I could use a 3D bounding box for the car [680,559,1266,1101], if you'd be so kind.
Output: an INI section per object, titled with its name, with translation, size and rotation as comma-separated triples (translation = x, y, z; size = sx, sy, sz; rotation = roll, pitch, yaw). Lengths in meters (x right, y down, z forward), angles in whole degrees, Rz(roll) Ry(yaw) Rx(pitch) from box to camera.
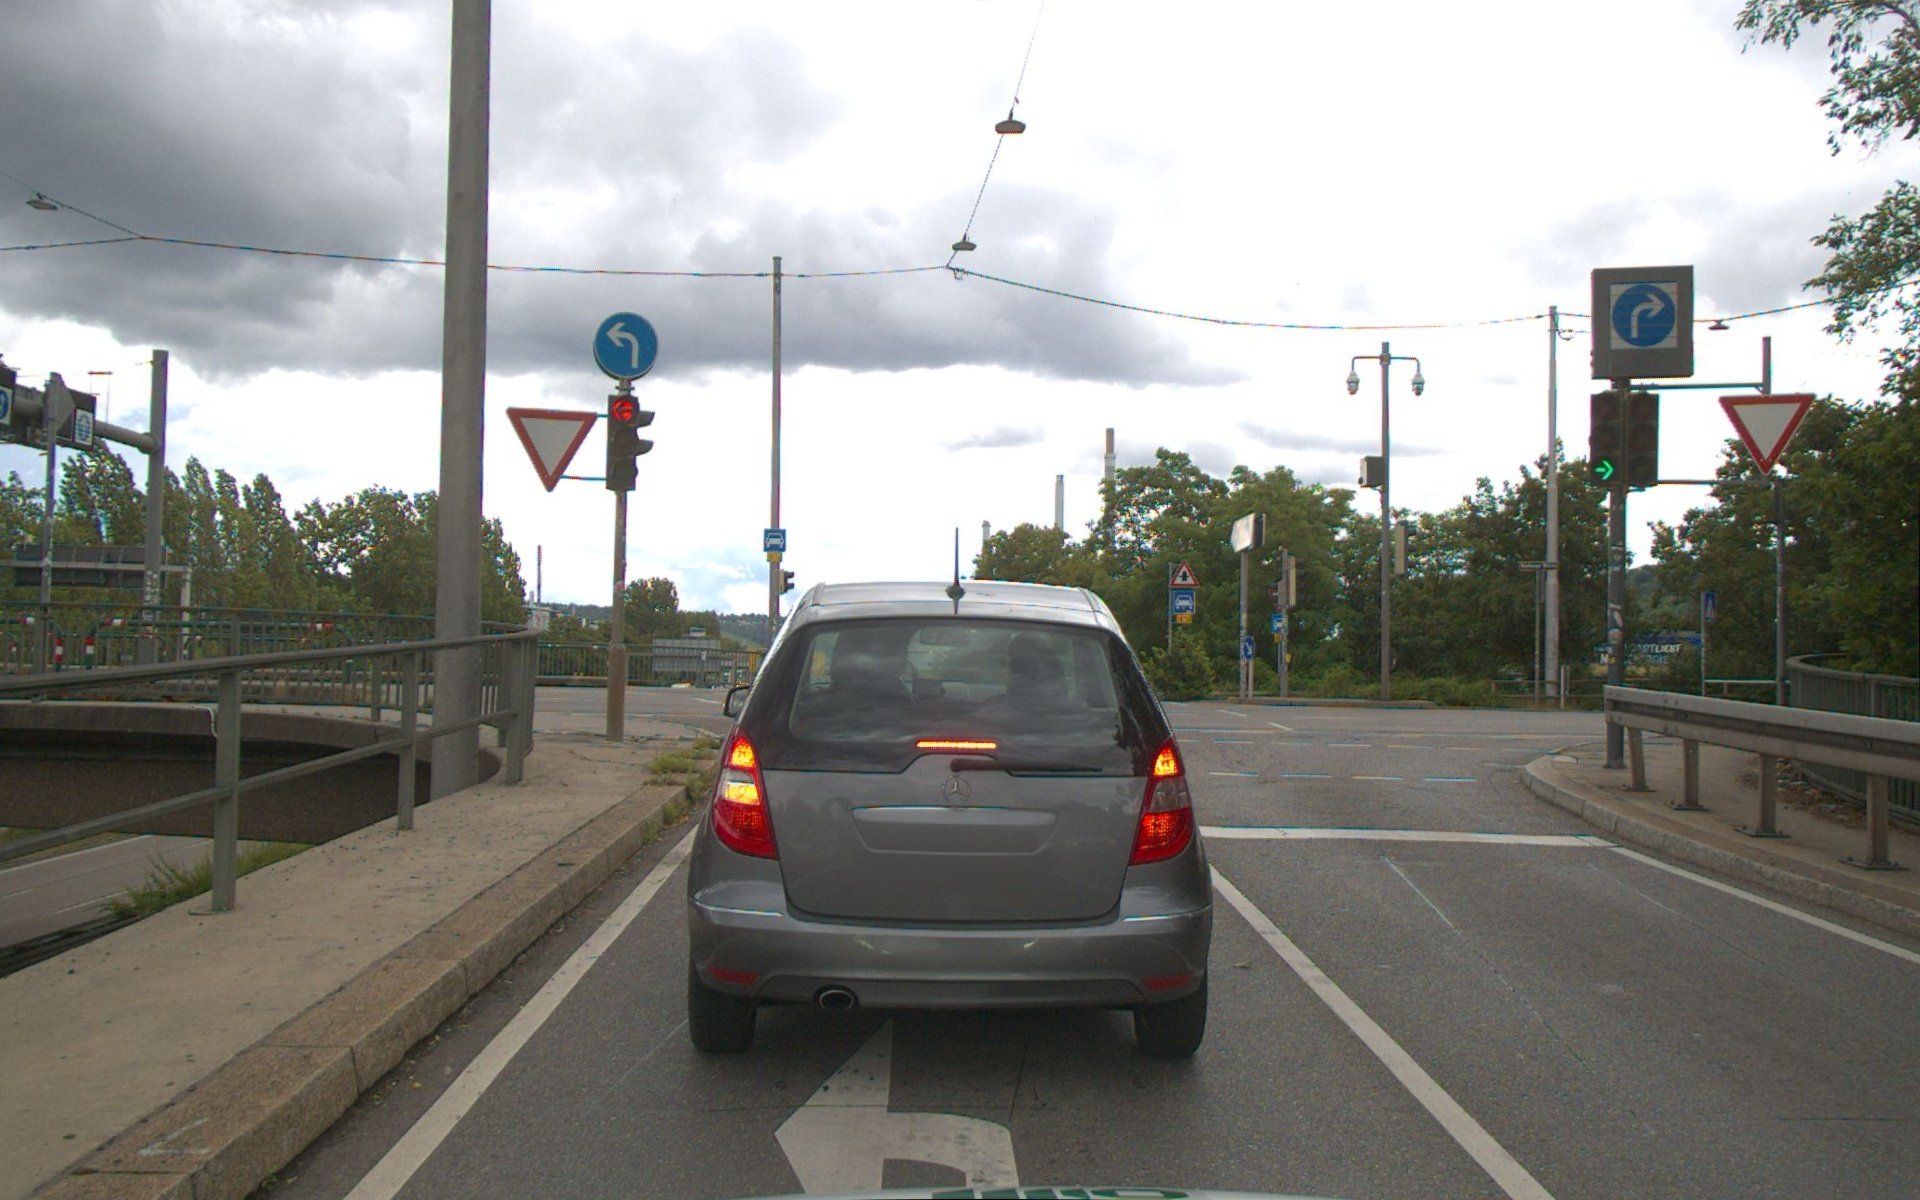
[car]
translation = 0.022, 0.686, 6.644
size = 1.704, 1.570, 3.540
rotation = 1, 0, -1

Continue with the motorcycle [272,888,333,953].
[motorcycle]
translation = -15.816, 7.698, 39.834
size = 0.581, 1.224, 2.126
rotation = 1, -2, 1

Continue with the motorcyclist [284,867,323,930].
[motorcyclist]
translation = -15.812, 7.180, 39.841
size = 0.581, 1.396, 0.762
rotation = 1, -3, 0
